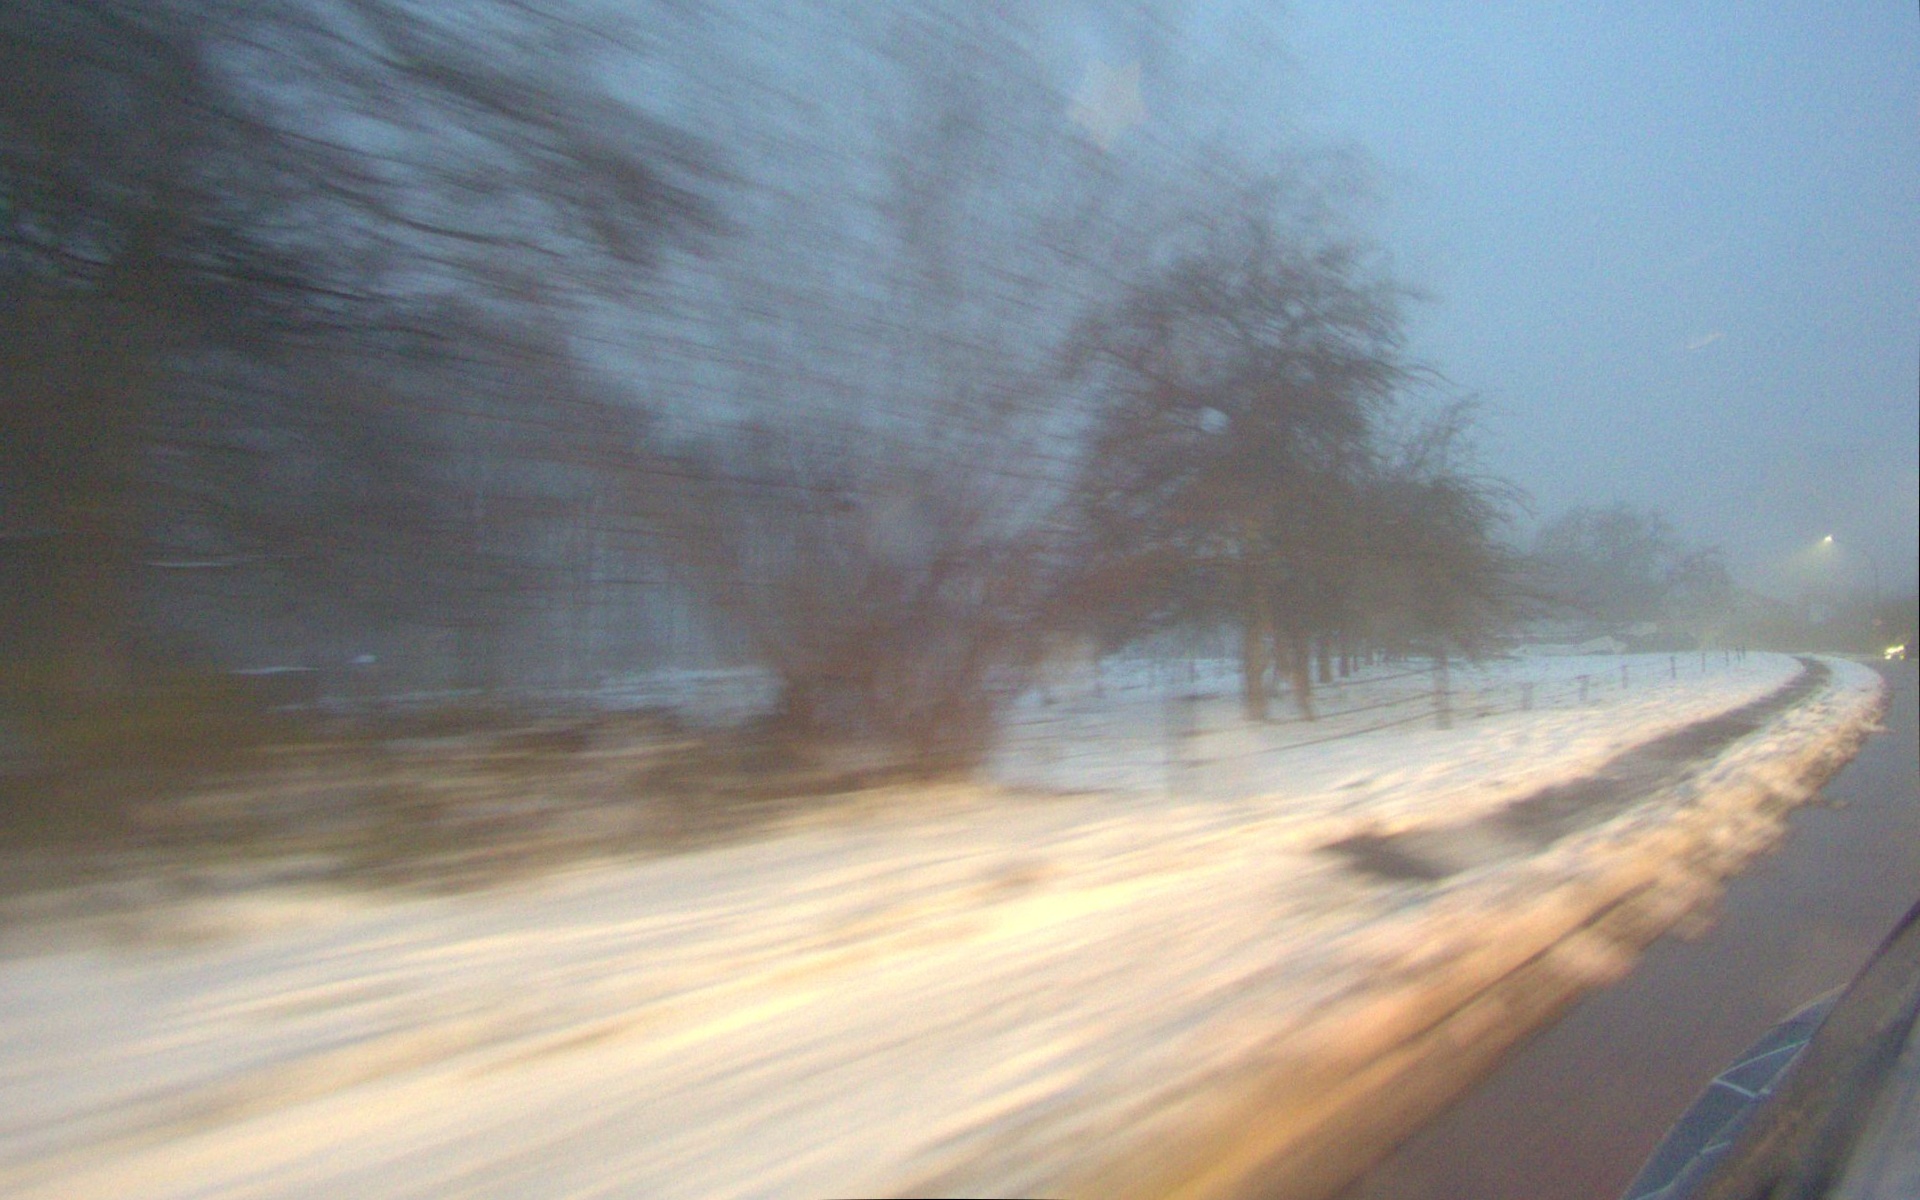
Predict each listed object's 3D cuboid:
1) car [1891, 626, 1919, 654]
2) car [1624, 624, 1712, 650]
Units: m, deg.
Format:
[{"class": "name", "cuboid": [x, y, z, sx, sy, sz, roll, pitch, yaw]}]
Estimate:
[{"class": "car", "cuboid": [50.818, 2.142, 53.149, 1.868, 1.445, 5.327, -1, -3, 32]}, {"class": "car", "cuboid": [44.888, 2.349, 64.294, 4.431, 1.400, 2.010, -5, -5, 34]}]
